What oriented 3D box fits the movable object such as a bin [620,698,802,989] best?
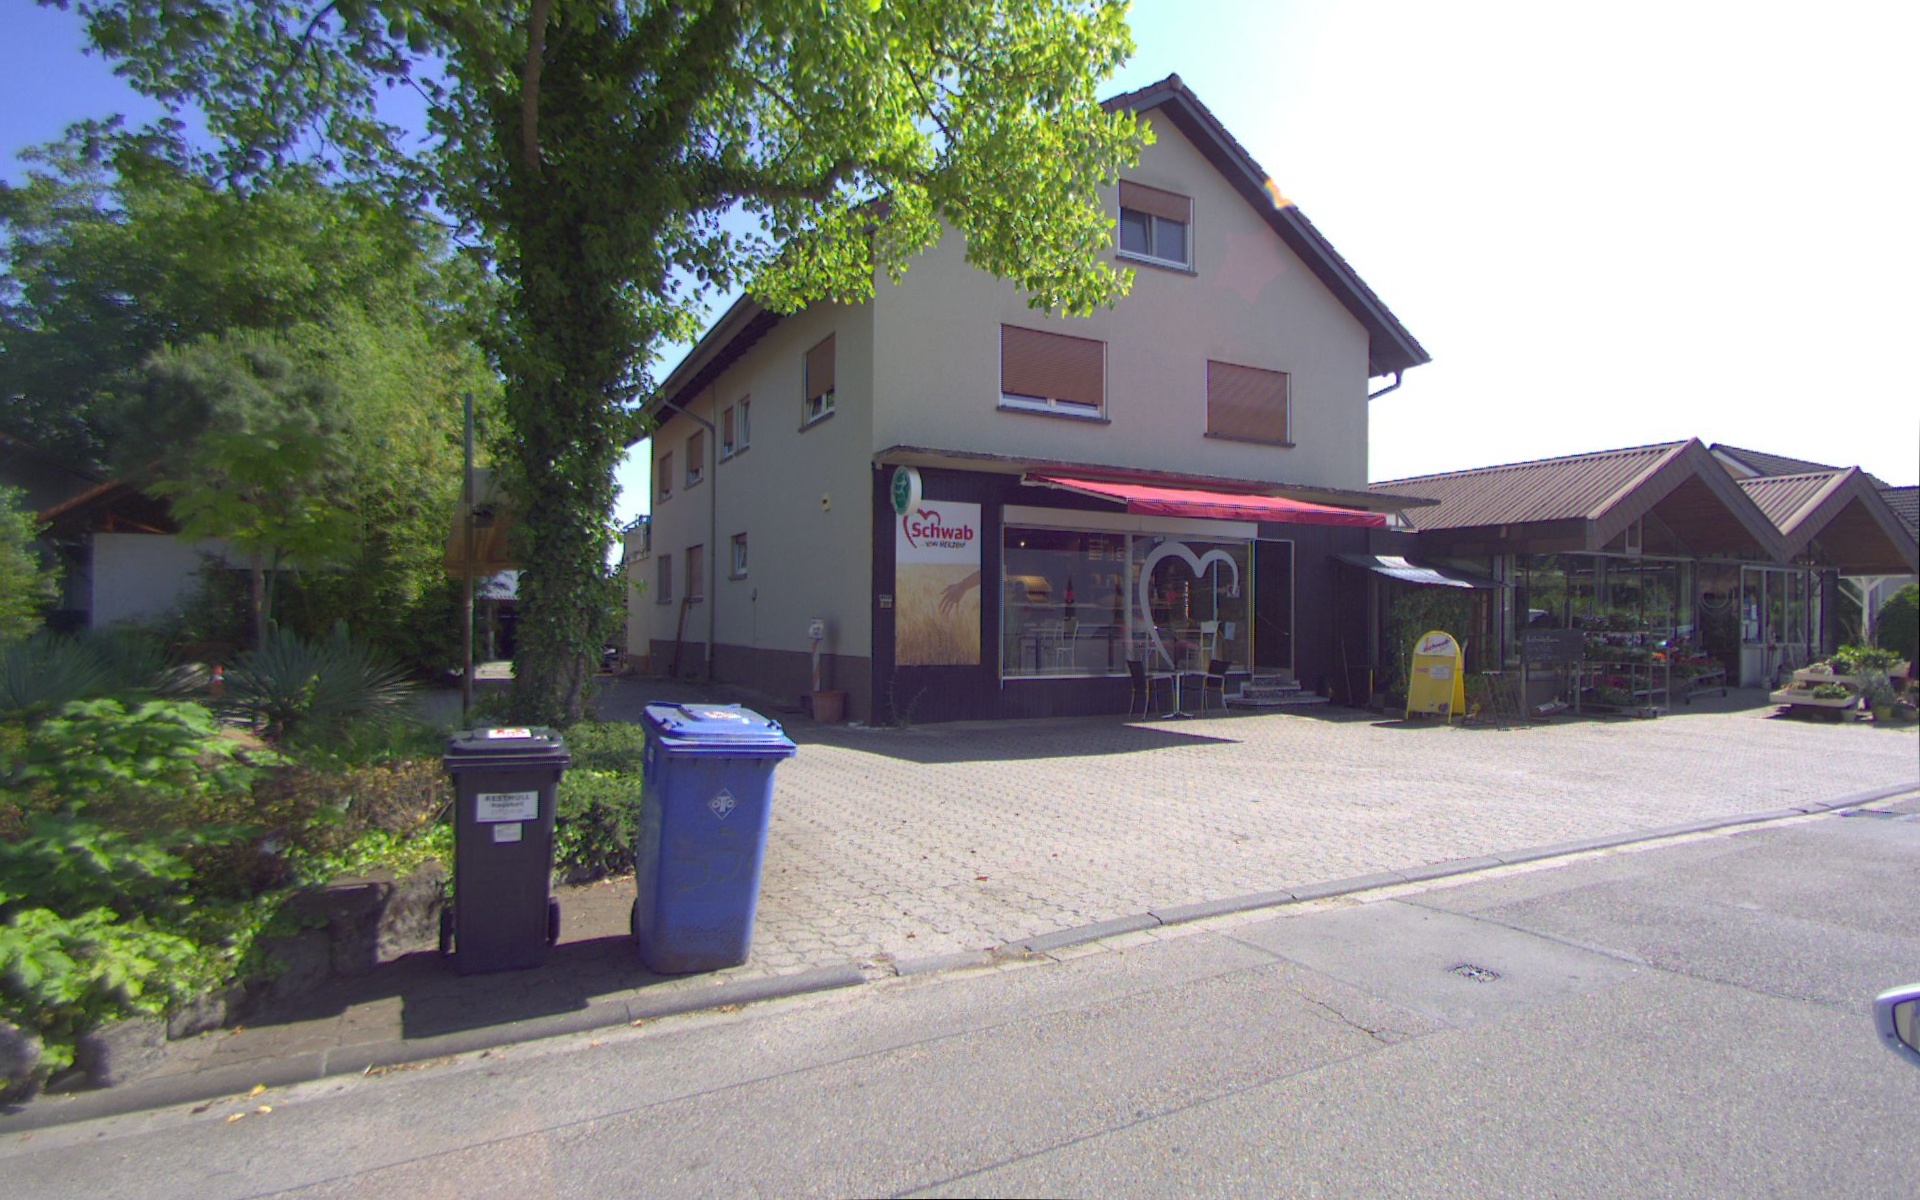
[{"bbox_3d":[-1.120,1.012,4.450,0.605,1.068,0.728,1,0,-29],"label":"movable object such as a bin"}]

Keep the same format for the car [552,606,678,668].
[{"bbox_3d":[-14.255,1.510,41.556,4.595,2.441,2.178,1,-2,-30],"label":"car"}]

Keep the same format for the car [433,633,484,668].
[{"bbox_3d":[-22.461,2.233,45.080,1.877,1.461,3.976,1,-2,-25],"label":"car"}]

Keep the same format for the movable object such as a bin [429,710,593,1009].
[{"bbox_3d":[-1.862,1.012,4.143,0.561,1.038,0.580,1,0,-29],"label":"movable object such as a bin"}]
